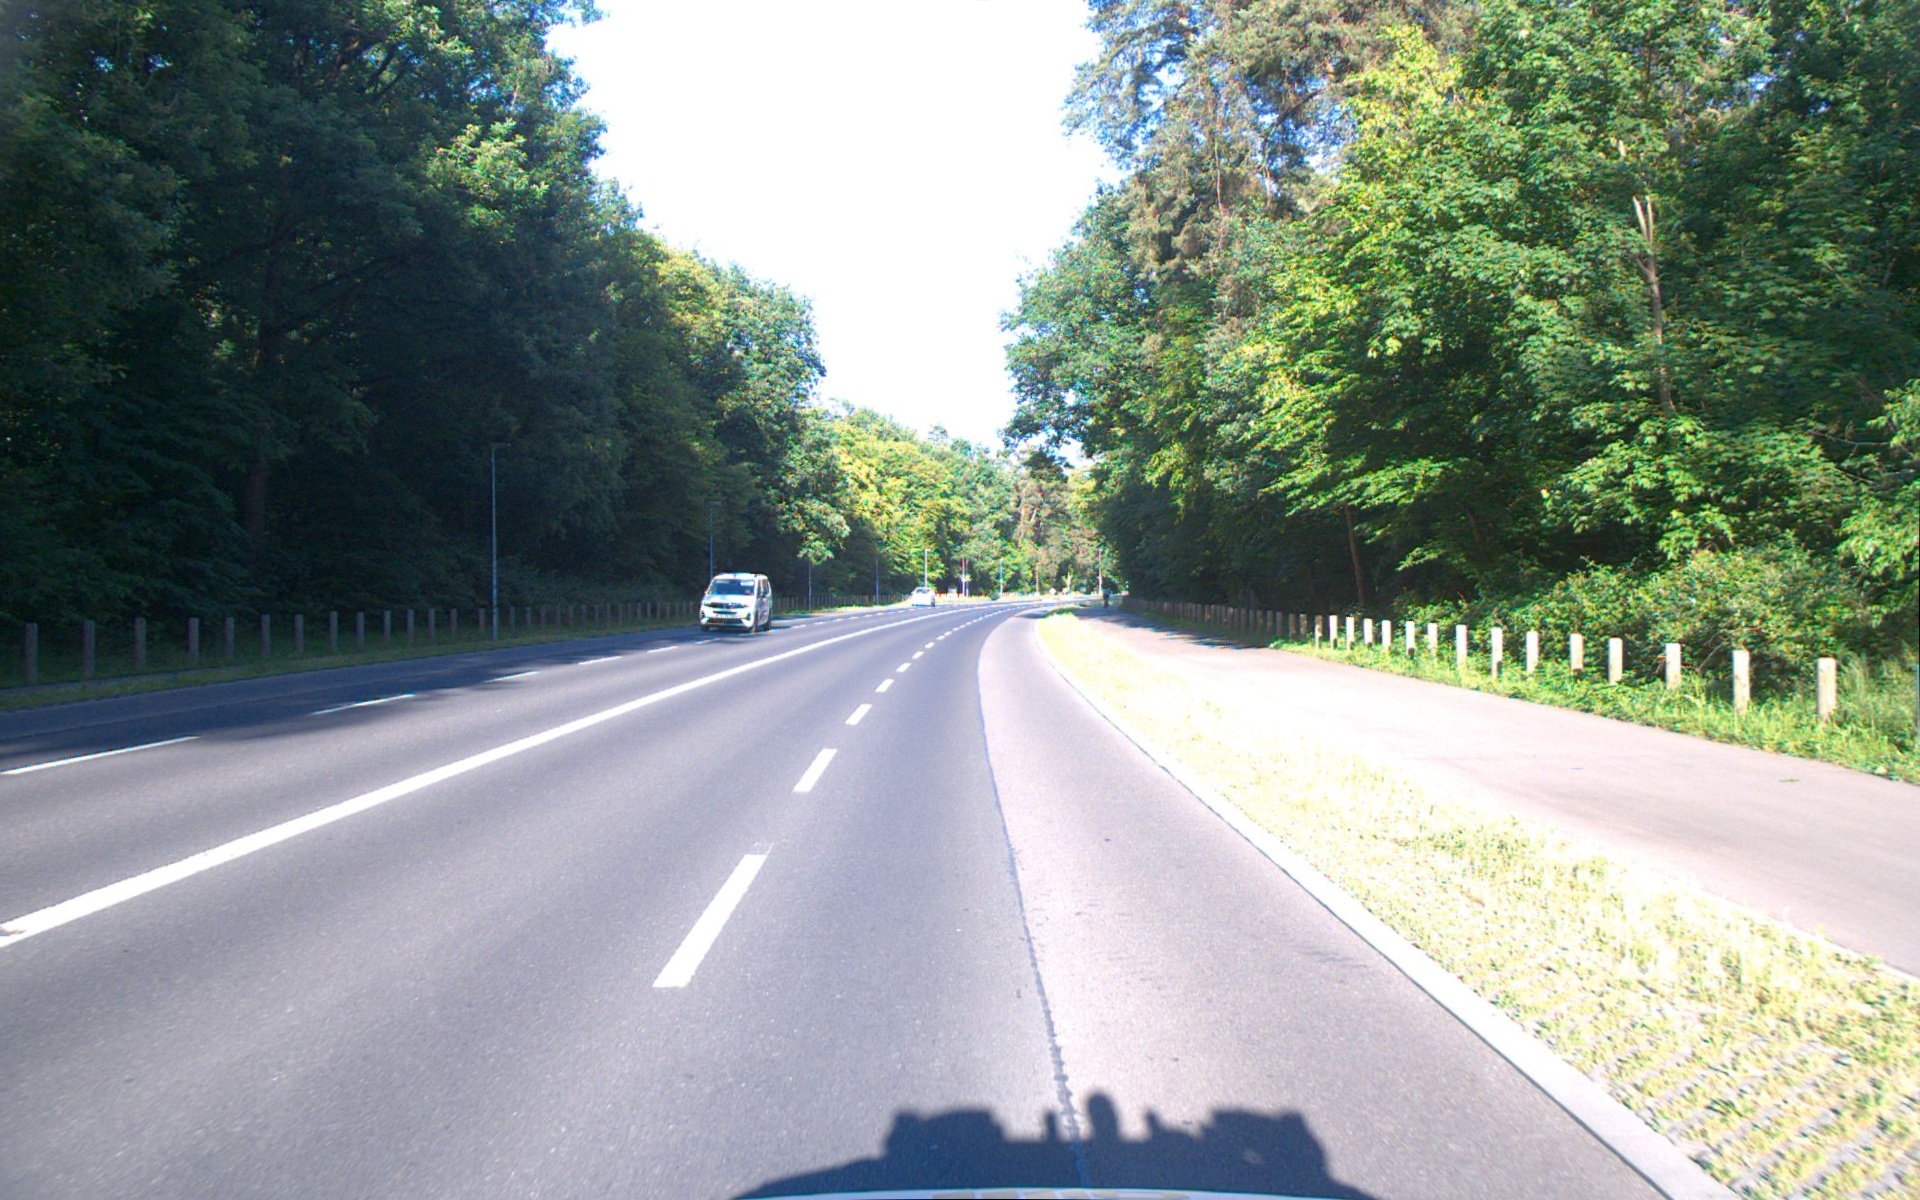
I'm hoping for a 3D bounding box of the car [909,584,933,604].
[{"bbox_3d":[-3.079,-0.495,131.971,1.554,1.462,4.311,2,1,3],"label":"car"}]

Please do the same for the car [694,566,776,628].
[{"bbox_3d":[-7.271,-0.130,53.853,1.960,1.858,4.999,2,0,0],"label":"car"}]

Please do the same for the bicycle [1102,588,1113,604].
[{"bbox_3d":[10.394,-0.292,116.599,0.697,1.074,2.054,0,0,6],"label":"bicycle"}]
